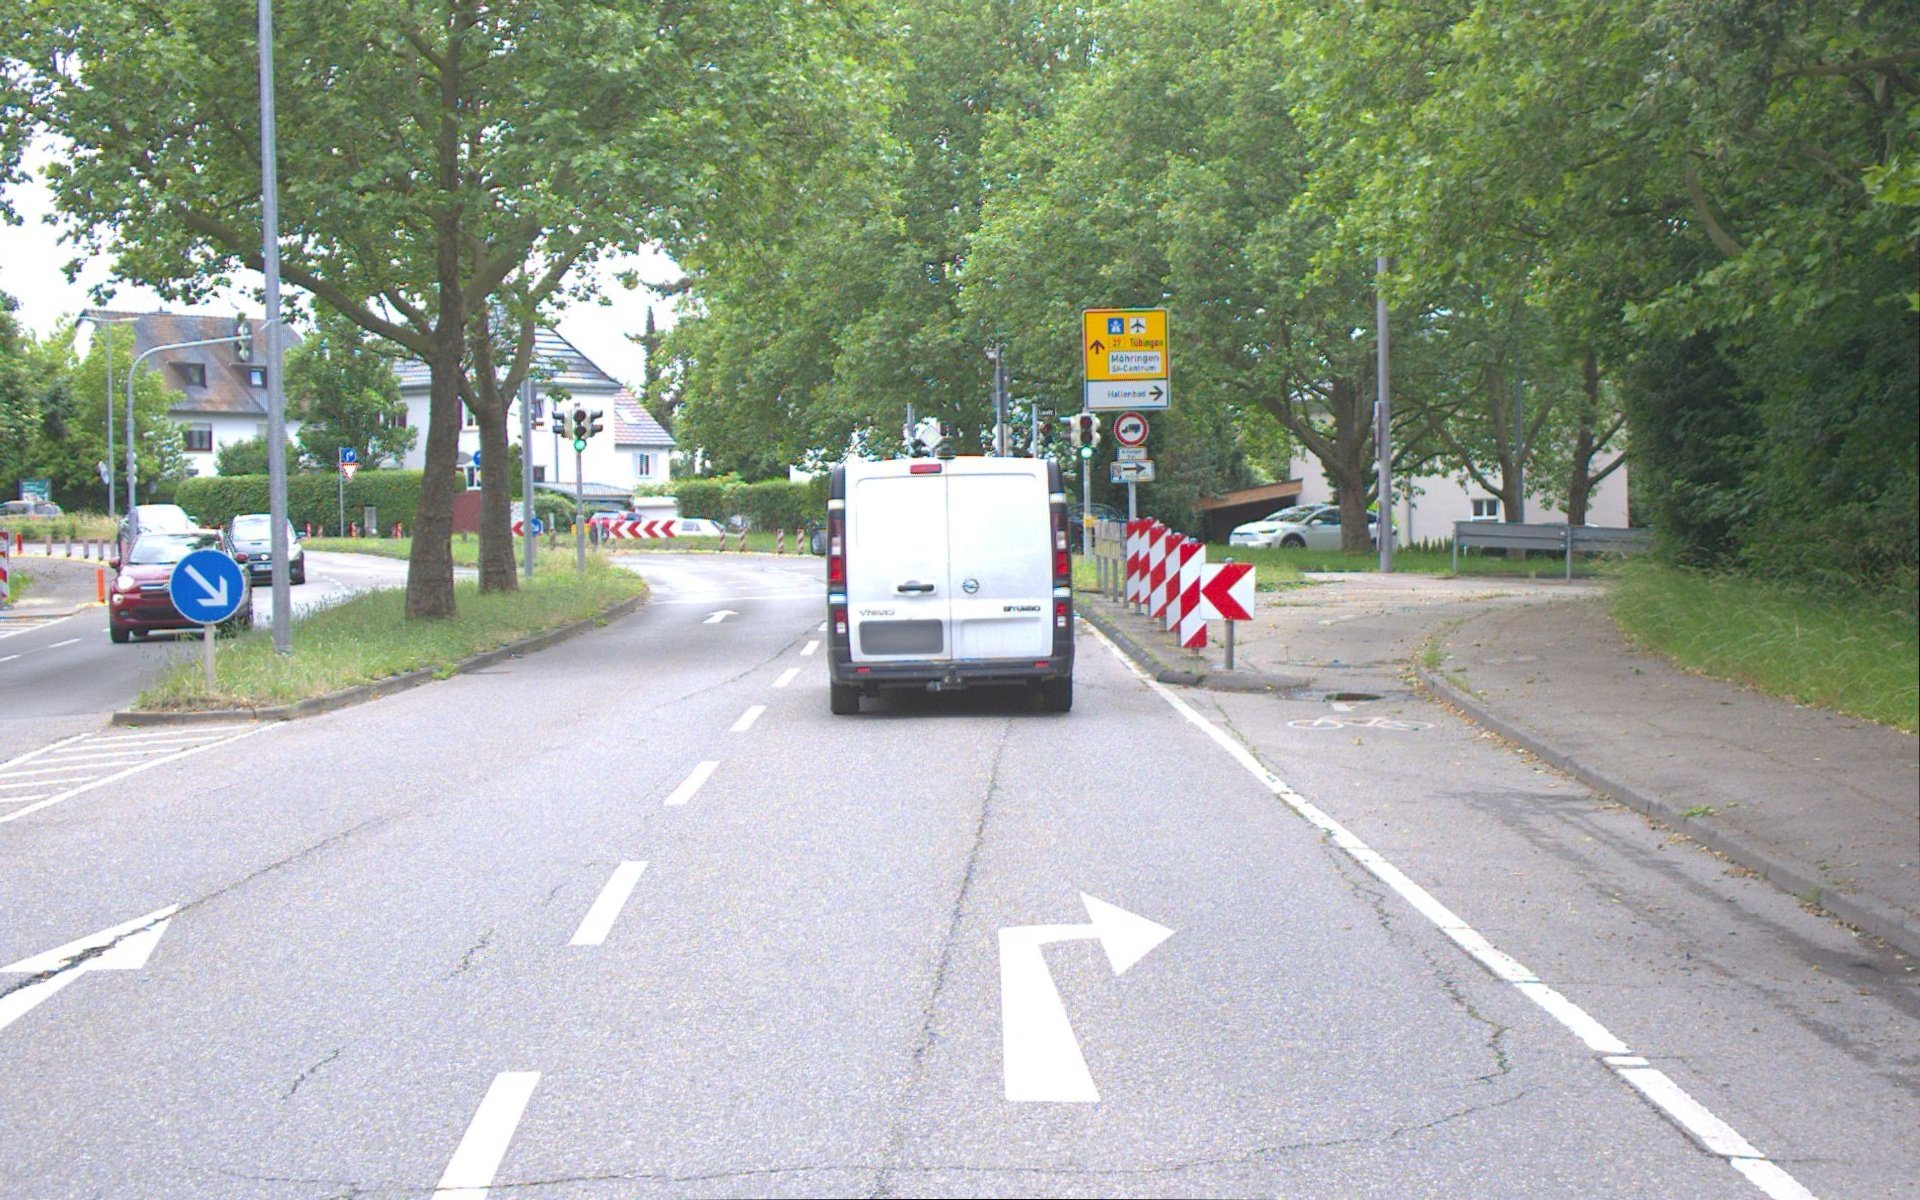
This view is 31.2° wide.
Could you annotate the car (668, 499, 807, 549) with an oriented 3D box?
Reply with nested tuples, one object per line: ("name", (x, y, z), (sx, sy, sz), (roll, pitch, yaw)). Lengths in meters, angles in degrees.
("car", (-8.003, -2.746, 123.583), (4.738, 1.763, 1.996), (1, 2, 33))

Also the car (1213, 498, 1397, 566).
("car", (9.205, -1.836, 91.623), (4.730, 1.763, 2.000), (-1, 2, -35))

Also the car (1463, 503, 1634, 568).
("car", (16.612, -1.833, 96.938), (4.730, 1.763, 2.000), (-1, 2, -35))

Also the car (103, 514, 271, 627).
("car", (-11.604, -0.455, 51.854), (1.997, 1.582, 3.998), (-2, 1, -6))

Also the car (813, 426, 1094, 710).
("car", (-0.156, -0.257, 27.641), (2.006, 2.031, 5.010), (-1, 1, -3))
